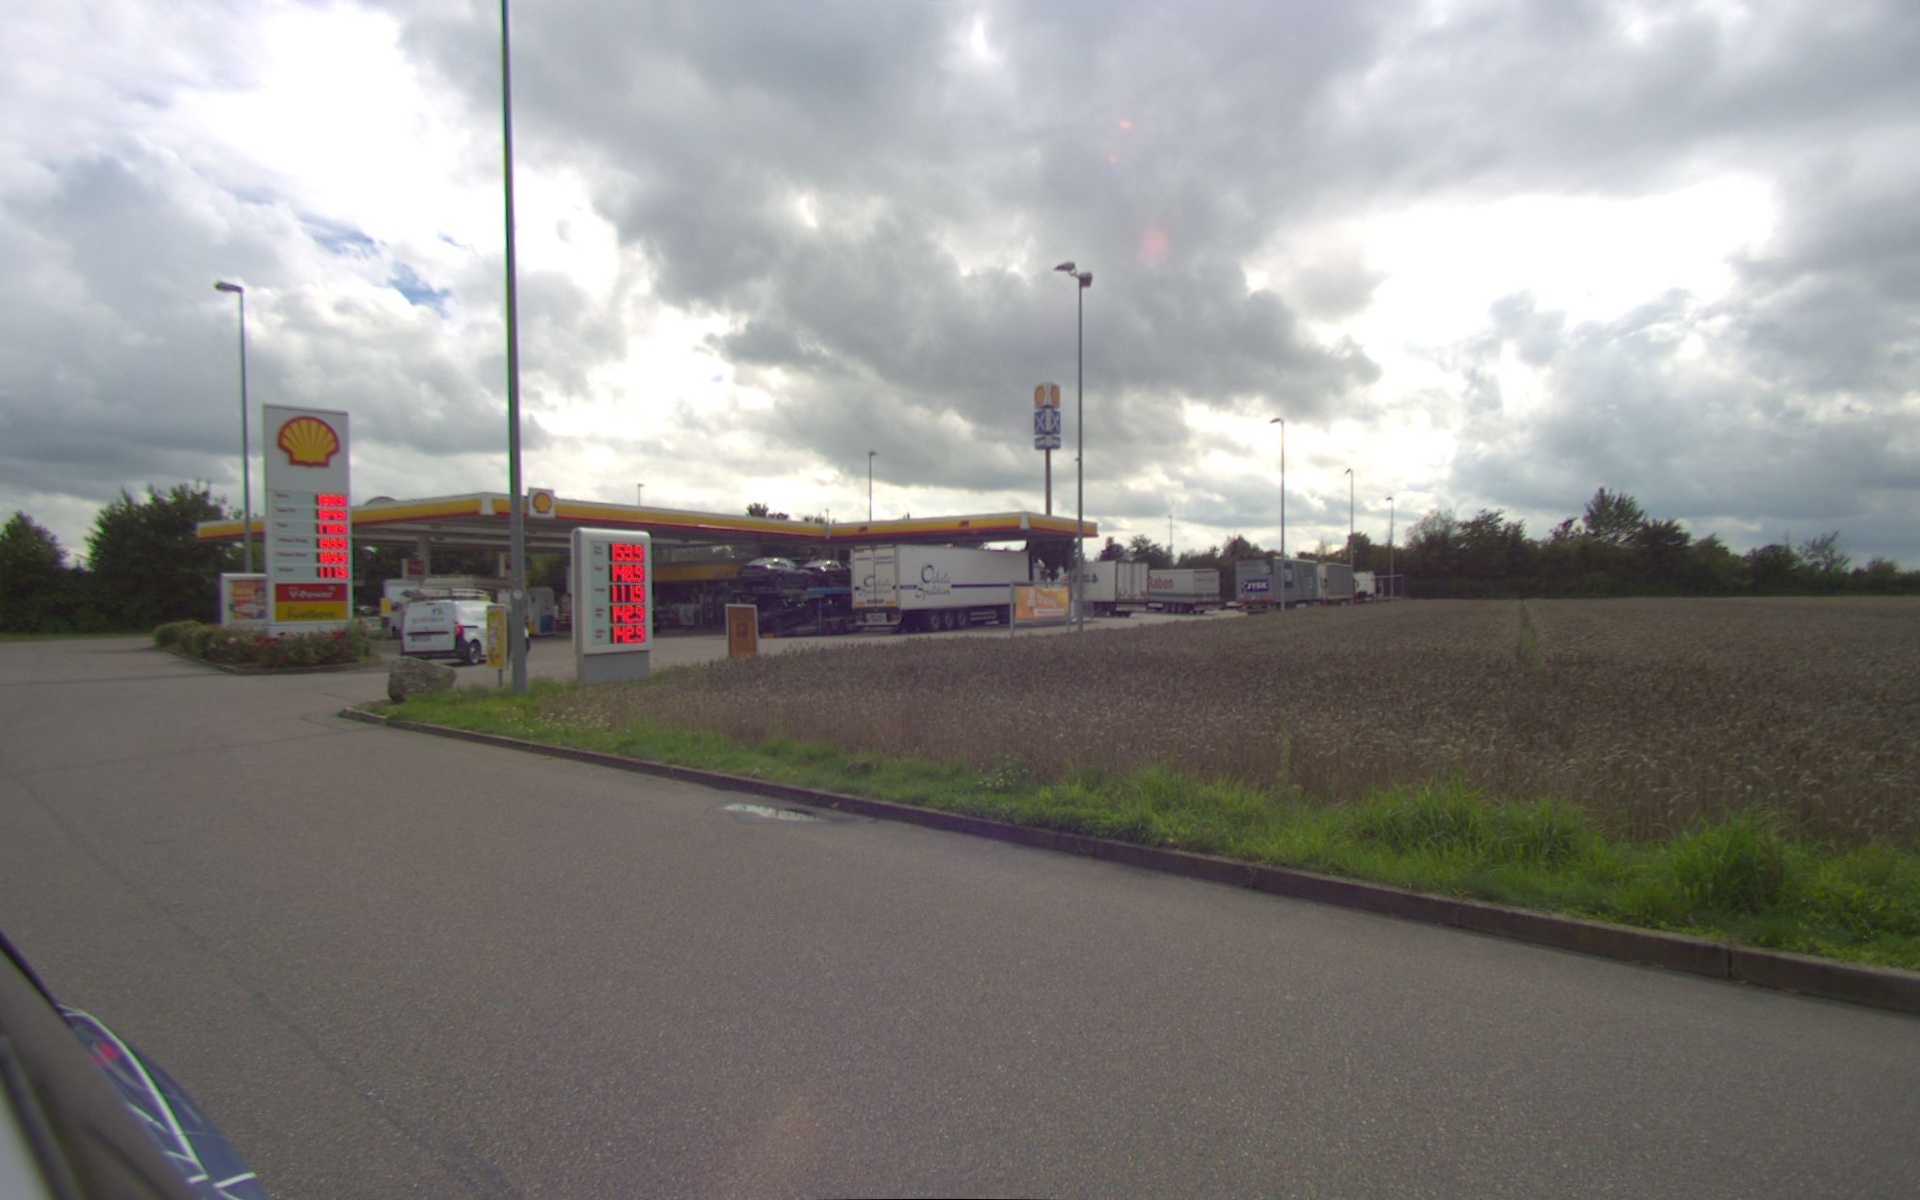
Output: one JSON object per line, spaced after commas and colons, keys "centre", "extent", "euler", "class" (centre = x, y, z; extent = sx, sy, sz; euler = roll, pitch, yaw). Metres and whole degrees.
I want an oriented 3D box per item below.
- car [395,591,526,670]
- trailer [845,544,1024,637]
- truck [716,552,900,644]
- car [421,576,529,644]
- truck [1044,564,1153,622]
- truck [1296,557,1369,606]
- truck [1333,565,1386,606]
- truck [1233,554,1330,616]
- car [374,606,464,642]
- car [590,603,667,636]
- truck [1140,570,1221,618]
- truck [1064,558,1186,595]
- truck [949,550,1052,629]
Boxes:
{"centre": [-13.968, 0.832, 28.574], "extent": [1.771, 2.027, 3.881], "euler": [-2, -1, 0], "class": "car"}
{"centre": [-0.845, -0.427, 50.577], "extent": [2.702, 4.055, 12.718], "euler": [-2, 0, 30], "class": "trailer"}
{"centre": [-6.981, -0.131, 49.898], "extent": [2.734, 3.953, 13.161], "euler": [0, 0, 22], "class": "truck"}
{"centre": [-21.661, 0.453, 45.488], "extent": [2.192, 2.808, 5.811], "euler": [-1, 0, -2], "class": "car"}
{"centre": [10.491, -0.514, 79.205], "extent": [2.913, 4.143, 14.791], "euler": [0, 0, -15], "class": "truck"}
{"centre": [32.488, -1.553, 87.637], "extent": [2.815, 3.923, 15.292], "euler": [0, 0, 32], "class": "truck"}
{"centre": [40.936, -1.458, 103.414], "extent": [2.815, 3.923, 12.669], "euler": [0, 0, 32], "class": "truck"}
{"centre": [23.084, -1.016, 71.887], "extent": [2.815, 3.923, 15.292], "euler": [0, 0, 32], "class": "truck"}
{"centre": [-25.127, 1.074, 47.151], "extent": [1.973, 1.571, 3.958], "euler": [-2, 0, 2], "class": "car"}
{"centre": [-17.524, 1.026, 53.477], "extent": [3.742, 1.613, 1.701], "euler": [-2, 0, 27], "class": "car"}
{"centre": [20.433, -0.505, 94.774], "extent": [2.945, 4.142, 11.601], "euler": [-1, 0, -11], "class": "truck"}
{"centre": [17.845, -2.533, 109.360], "extent": [12.795, 3.923, 2.832], "euler": [-1, 0, -14], "class": "truck"}
{"centre": [2.370, -0.566, 56.304], "extent": [2.702, 4.055, 7.096], "euler": [-2, 0, 30], "class": "truck"}
